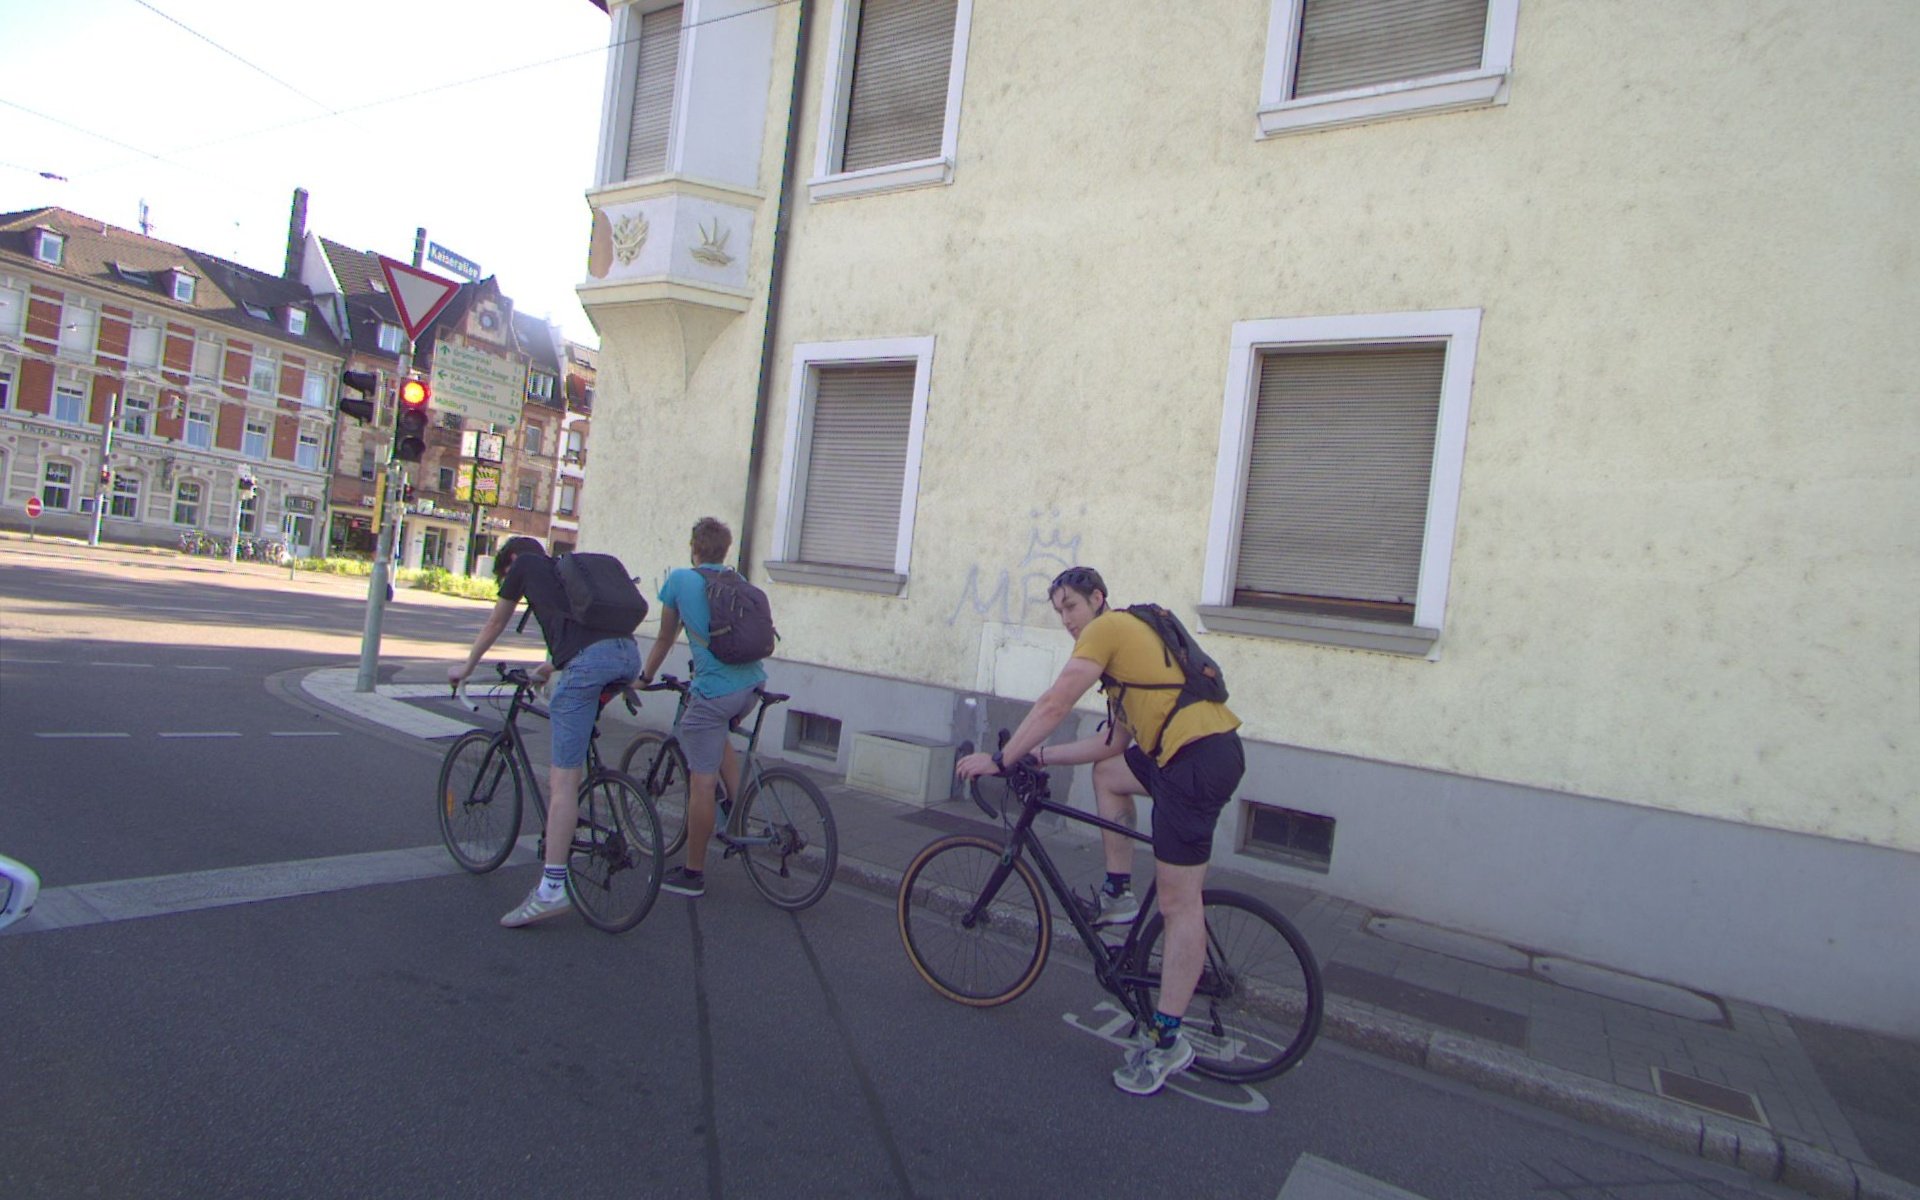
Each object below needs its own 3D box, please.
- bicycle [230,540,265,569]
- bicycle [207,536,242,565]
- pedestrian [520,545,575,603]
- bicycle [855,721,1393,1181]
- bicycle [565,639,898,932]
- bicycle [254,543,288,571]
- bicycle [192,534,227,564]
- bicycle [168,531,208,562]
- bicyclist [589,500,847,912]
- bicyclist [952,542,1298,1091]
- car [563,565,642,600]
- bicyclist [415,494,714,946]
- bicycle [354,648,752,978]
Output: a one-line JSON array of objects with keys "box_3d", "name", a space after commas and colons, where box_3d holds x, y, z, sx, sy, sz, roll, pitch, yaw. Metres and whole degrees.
[{"box_3d": [-33.666, -2.154, 47.510, 2.140, 1.157, 0.618, 7, 0, 37], "name": "bicycle"}, {"box_3d": [-34.199, -2.301, 46.758, 2.140, 1.157, 0.618, 7, 0, 37], "name": "bicycle"}, {"box_3d": [-16.555, -1.034, 40.375, 1.285, 2.068, 1.321, 7, 0, 31], "name": "pedestrian"}, {"box_3d": [0.557, 1.146, 3.764, 1.780, 1.101, 0.611, 7, 0, 32], "name": "bicycle"}, {"box_3d": [-1.248, 0.885, 5.278, 1.784, 1.130, 0.519, 7, 0, 34], "name": "bicycle"}, {"box_3d": [-33.101, -2.061, 48.314, 2.102, 1.150, 0.609, 7, 0, 37], "name": "bicycle"}, {"box_3d": [-34.534, -2.349, 46.281, 2.140, 1.157, 0.618, 7, 0, 37], "name": "bicycle"}, {"box_3d": [-35.049, -2.439, 45.678, 2.140, 1.157, 0.806, 7, 0, 37], "name": "bicycle"}, {"box_3d": [-1.264, 0.498, 5.243, 0.961, 1.917, 0.602, 6, -1, 34], "name": "bicyclist"}, {"box_3d": [0.620, 0.719, 3.780, 0.939, 1.742, 0.582, 7, 0, 32], "name": "bicyclist"}, {"box_3d": [-23.157, -1.116, 65.319, 2.116, 1.660, 4.340, 7, -1, 31], "name": "car"}, {"box_3d": [-1.797, 0.472, 4.543, 1.083, 1.775, 0.562, 7, 0, 34], "name": "bicyclist"}, {"box_3d": [-1.909, 0.854, 4.589, 1.897, 1.023, 0.645, 7, 0, 34], "name": "bicycle"}]
